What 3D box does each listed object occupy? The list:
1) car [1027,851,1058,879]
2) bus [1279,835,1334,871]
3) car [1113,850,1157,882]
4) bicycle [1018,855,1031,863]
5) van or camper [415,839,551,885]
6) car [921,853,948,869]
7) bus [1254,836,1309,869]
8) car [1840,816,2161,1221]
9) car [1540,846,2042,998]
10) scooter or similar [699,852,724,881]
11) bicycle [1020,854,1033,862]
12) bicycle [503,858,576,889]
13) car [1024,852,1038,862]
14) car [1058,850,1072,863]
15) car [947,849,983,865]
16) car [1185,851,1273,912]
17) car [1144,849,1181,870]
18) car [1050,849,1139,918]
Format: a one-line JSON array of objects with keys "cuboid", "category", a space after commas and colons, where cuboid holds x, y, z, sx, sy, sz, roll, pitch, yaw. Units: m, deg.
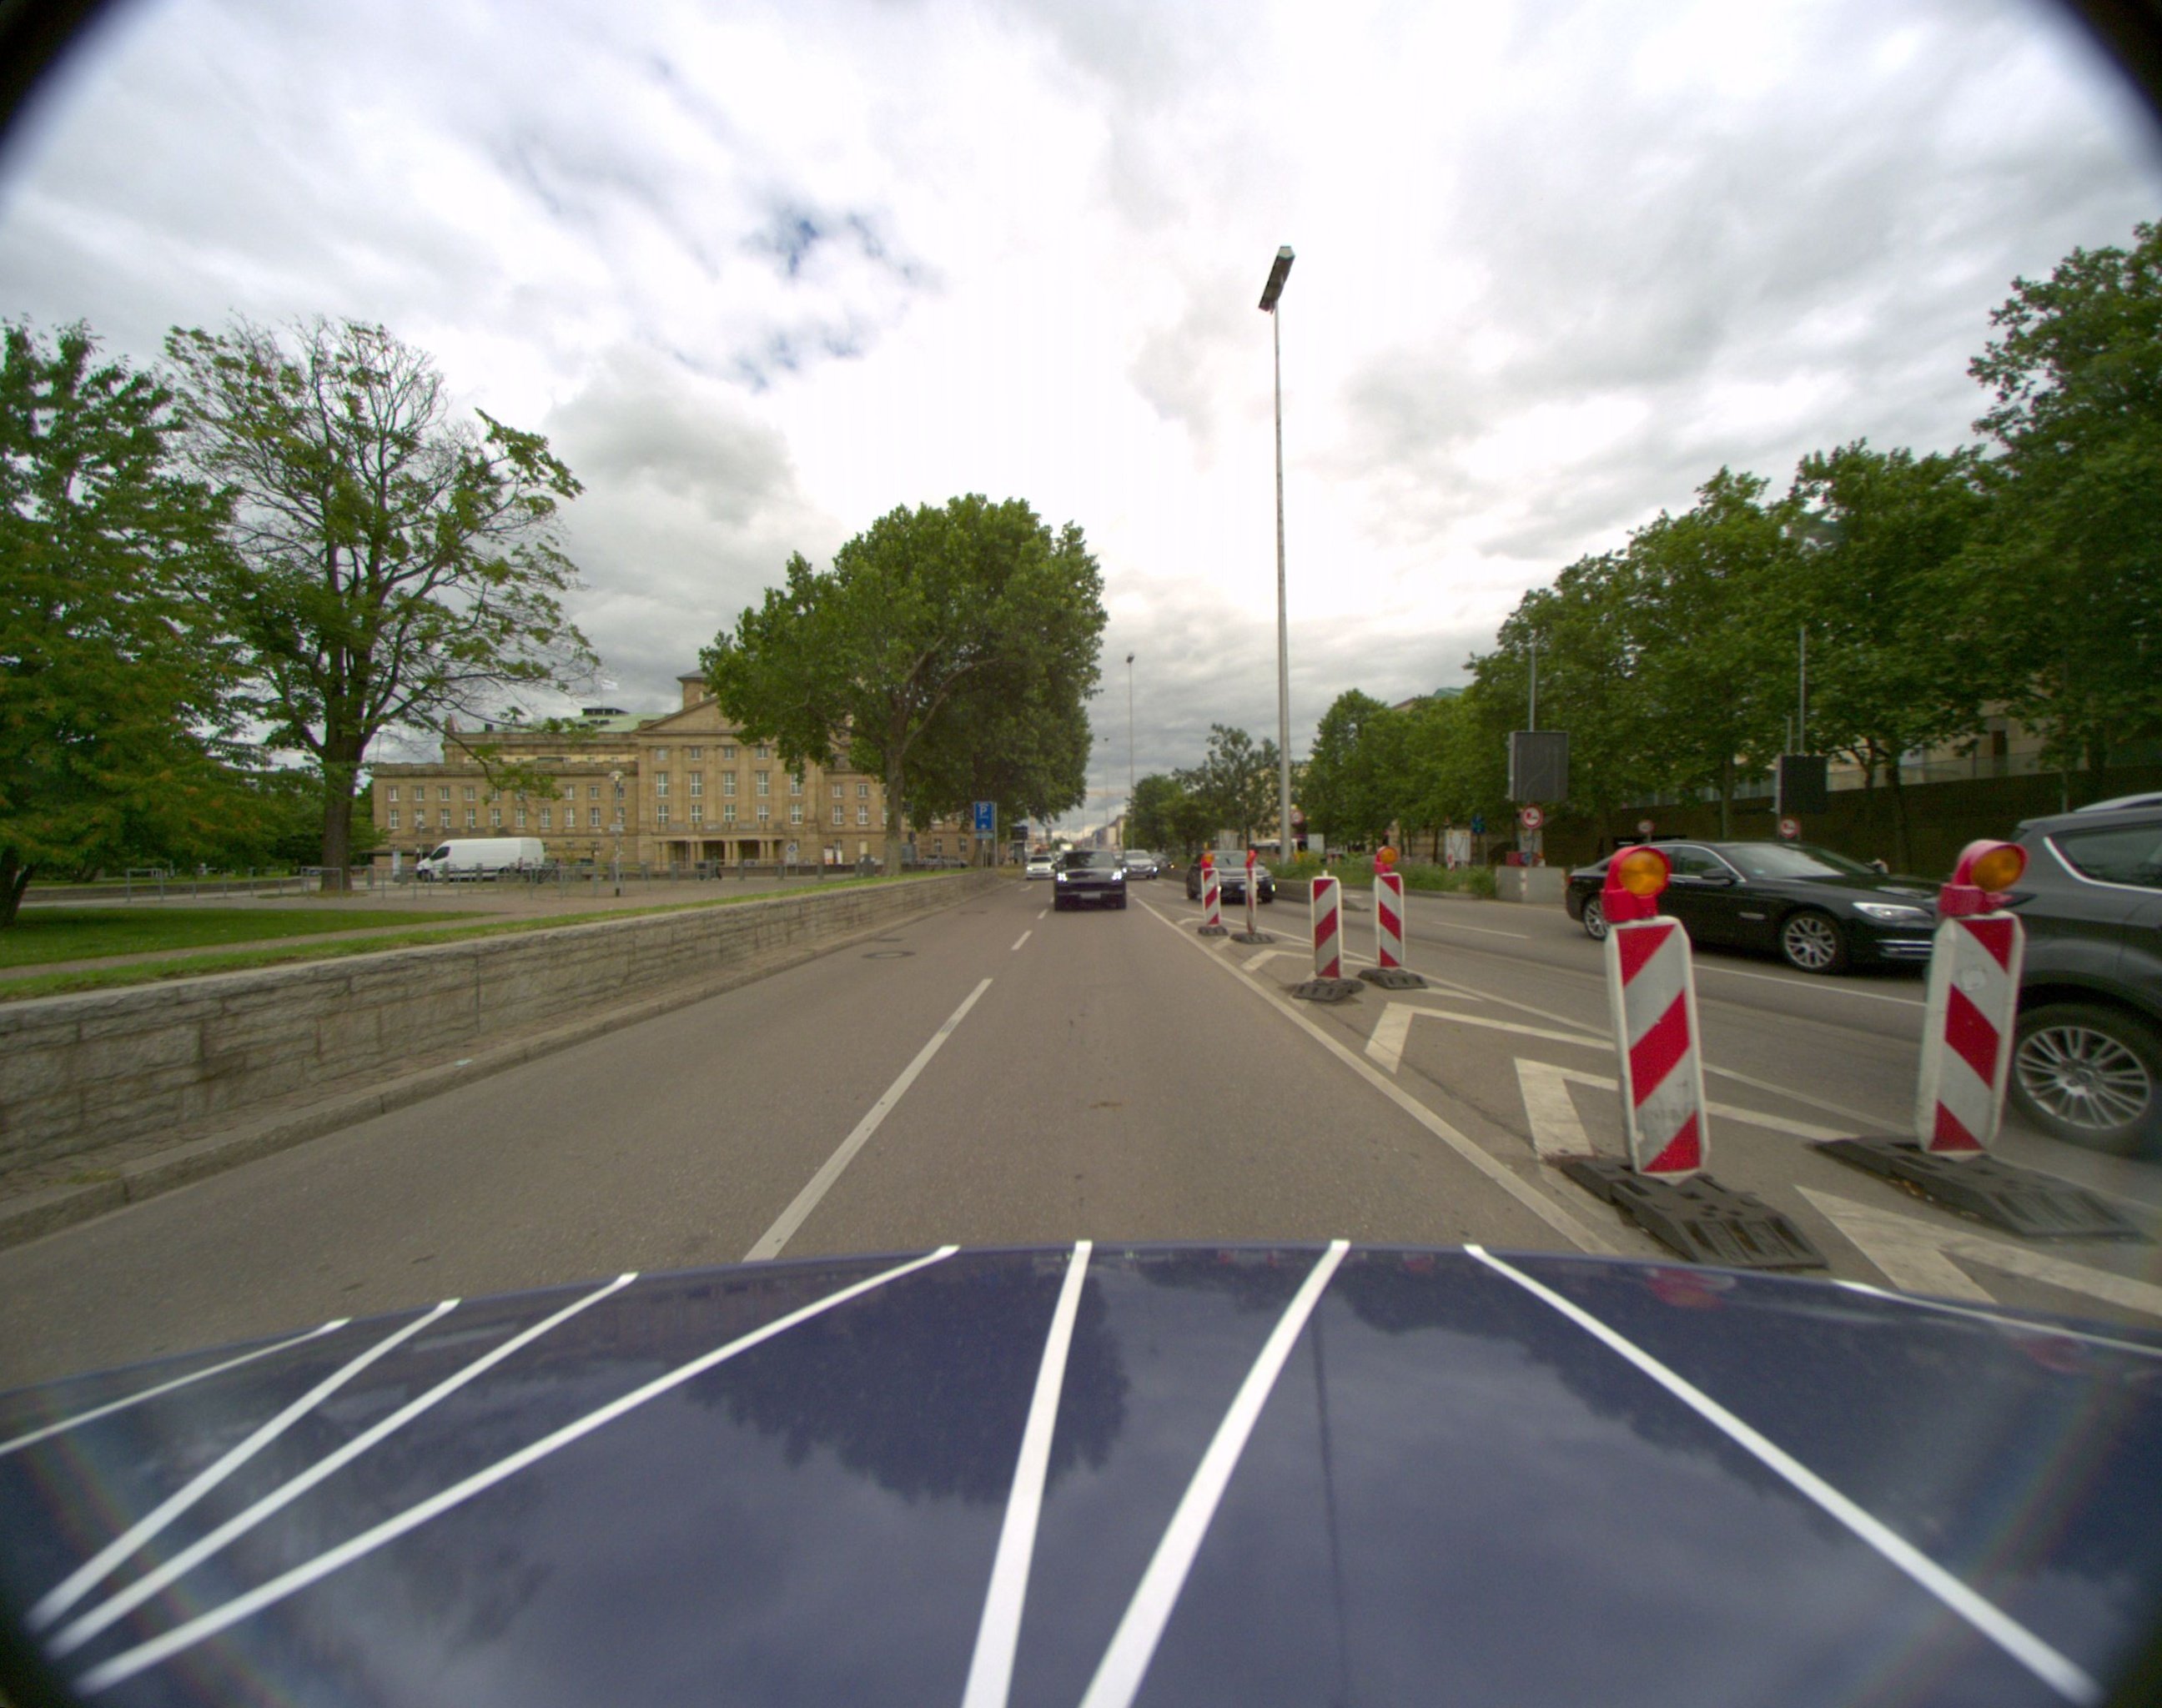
[{"cuboid": [-2.469, 0.658, 49.497, 1.696, 1.585, 3.999, -3, 1, 1], "category": "car"}, {"cuboid": [22.115, -0.123, 74.923, 2.930, 3.284, 7.704, -1, 0, -1], "category": "bus"}, {"cuboid": [2.991, 0.633, 42.894, 1.999, 1.607, 4.737, -1, 1, -1], "category": "car"}, {"cuboid": [-8.030, 0.680, 108.013, 1.841, 1.066, 0.618, -1, 1, -9], "category": "bicycle"}, {"cuboid": [-33.820, 0.416, 43.140, 5.712, 2.307, 2.319, -2, 2, -1], "category": "van or camper"}, {"cuboid": [-14.552, 0.719, 75.619, 1.768, 1.508, 4.218, -1, -1, 1], "category": "car"}, {"cuboid": [21.858, -0.187, 83.375, 2.920, 3.286, 10.446, -1, 0, -2], "category": "bus"}, {"cuboid": [5.534, 0.660, 2.179, 1.899, 1.705, 4.657, -2, 0, -3], "category": "car"}, {"cuboid": [8.542, 0.666, 9.971, 1.999, 1.474, 4.808, -1, 0, -2], "category": "car"}, {"cuboid": [-16.352, 0.555, 33.627, 0.718, 1.239, 0.728, 2, 1, -2], "category": "scooter or similar"}, {"cuboid": [-7.889, 0.560, 109.871, 1.843, 1.066, 0.531, -1, 1, -21], "category": "bicycle"}, {"cuboid": [-20.046, 0.715, 28.161, 2.197, 1.135, 0.685, 0, 0, -1], "category": "bicycle"}, {"cuboid": [-7.977, 0.424, 121.083, 1.843, 1.522, 3.999, -1, 1, 1], "category": "car"}, {"cuboid": [-2.125, 0.386, 103.220, 1.733, 1.587, 3.999, -3, 1, 1], "category": "car"}, {"cuboid": [-13.450, 0.366, 88.116, 3.999, 1.587, 1.733, -3, 1, -7], "category": "car"}, {"cuboid": [4.262, 0.727, 22.505, 1.767, 1.507, 4.151, -2, 1, 0], "category": "car"}, {"cuboid": [6.033, 0.393, 56.771, 1.999, 1.474, 4.808, -1, 0, -2], "category": "car"}, {"cuboid": [0.260, 0.758, 22.093, 2.062, 1.616, 4.598, -4, 1, -4], "category": "car"}]
